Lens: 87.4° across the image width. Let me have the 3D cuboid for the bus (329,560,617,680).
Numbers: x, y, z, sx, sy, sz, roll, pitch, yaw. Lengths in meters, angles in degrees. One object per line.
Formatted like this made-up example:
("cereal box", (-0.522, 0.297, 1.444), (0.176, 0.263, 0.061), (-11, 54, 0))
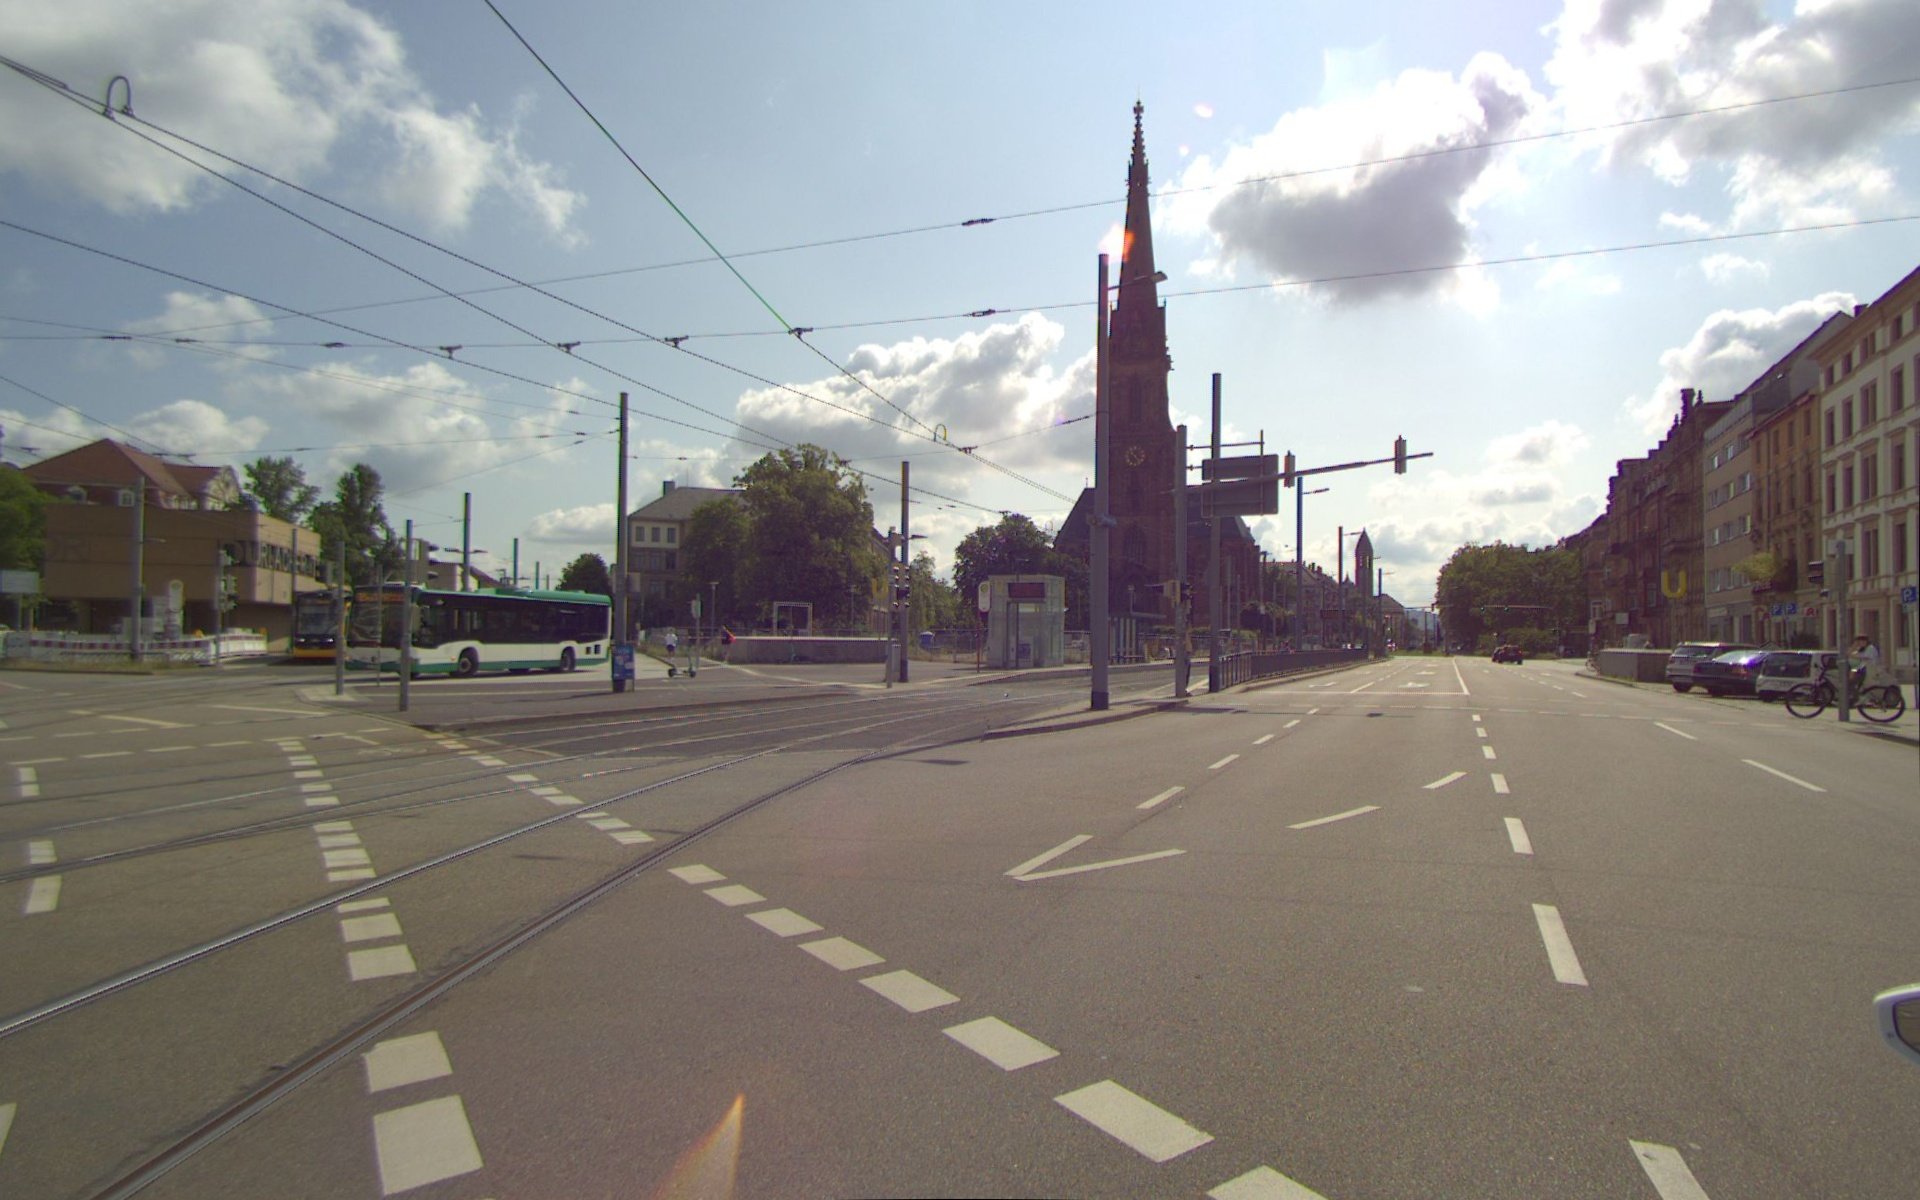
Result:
("bus", (-17.119, 0.820, 37.084), (2.856, 3.668, 12.388), (0, -2, 9))

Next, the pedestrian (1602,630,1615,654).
("pedestrian", (53.372, 3.465, 82.727), (0.651, 1.928, 0.695), (0, -2, 8))

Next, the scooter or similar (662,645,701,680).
("scooter or similar", (-9.668, 2.147, 34.885), (0.796, 1.182, 1.169), (0, -2, 17))

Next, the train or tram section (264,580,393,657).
("train or tram section", (-31.739, 0.839, 51.054), (3.273, 3.527, 10.561), (0, 0, -19))

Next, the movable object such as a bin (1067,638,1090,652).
("movable object such as a bin", (13.122, 4.975, 110.864), (1.959, 1.522, 5.158), (0, -2, 13))

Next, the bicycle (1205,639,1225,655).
("bicycle", (23.451, 4.316, 92.239), (1.174, 1.445, 3.691), (0, -2, 24))

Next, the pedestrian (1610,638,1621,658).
("pedestrian", (61.249, 4.495, 93.843), (0.652, 1.860, 0.695), (0, -2, 20))

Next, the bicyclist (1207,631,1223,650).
("bicyclist", (23.458, 3.708, 92.264), (1.159, 1.706, 1.683), (0, -2, 24))

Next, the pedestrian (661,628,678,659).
("pedestrian", (-16.374, 2.442, 56.619), (0.771, 1.694, 0.716), (1, -2, -25))

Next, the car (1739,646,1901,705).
("car", (23.755, 2.076, 27.791), (3.438, 1.472, 1.774), (2, -2, -14))

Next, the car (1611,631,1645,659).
("car", (63.617, 4.259, 95.724), (1.963, 2.558, 5.883), (0, -2, 26))

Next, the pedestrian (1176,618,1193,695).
("pedestrian", (6.020, 1.506, 26.943), (0.418, 2.040, 0.579), (0, -2, 15))

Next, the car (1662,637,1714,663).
("car", (54.797, 3.771, 75.734), (1.961, 1.886, 4.753), (0, -3, 21))

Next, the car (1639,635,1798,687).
("car", (25.770, 2.050, 34.167), (4.521, 1.669, 2.055), (1, -2, -16))

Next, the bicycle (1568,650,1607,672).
("bicycle", (36.883, 3.598, 59.069), (1.891, 1.254, 0.441), (0, 0, 14))

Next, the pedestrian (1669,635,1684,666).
("pedestrian", (50.699, 3.577, 71.099), (0.710, 2.127, 0.785), (0, 0, 27))

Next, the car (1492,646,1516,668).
("car", (48.553, 5.090, 89.691), (1.662, 1.734, 3.606), (0, 0, 24))

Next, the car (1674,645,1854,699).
("car", (24.427, 2.176, 30.565), (4.521, 1.479, 1.934), (2, -2, -14))

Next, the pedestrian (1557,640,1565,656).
("pedestrian", (75.013, 5.961, 125.408), (0.756, 2.040, 0.714), (-1, -2, 27))

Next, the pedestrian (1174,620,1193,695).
("pedestrian", (6.175, 1.577, 27.778), (0.493, 2.040, 0.516), (0, -2, 15))

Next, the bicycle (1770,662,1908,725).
("bicycle", (18.078, 1.889, 20.701), (0.539, 1.121, 2.078), (0, 0, -36))

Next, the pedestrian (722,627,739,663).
("pedestrian", (-11.763, 2.293, 51.478), (0.710, 1.817, 0.560), (1, -2, -21))

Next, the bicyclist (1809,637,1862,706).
("bicyclist", (18.057, 1.457, 20.723), (0.391, 1.354, 0.776), (0, 0, -37))
